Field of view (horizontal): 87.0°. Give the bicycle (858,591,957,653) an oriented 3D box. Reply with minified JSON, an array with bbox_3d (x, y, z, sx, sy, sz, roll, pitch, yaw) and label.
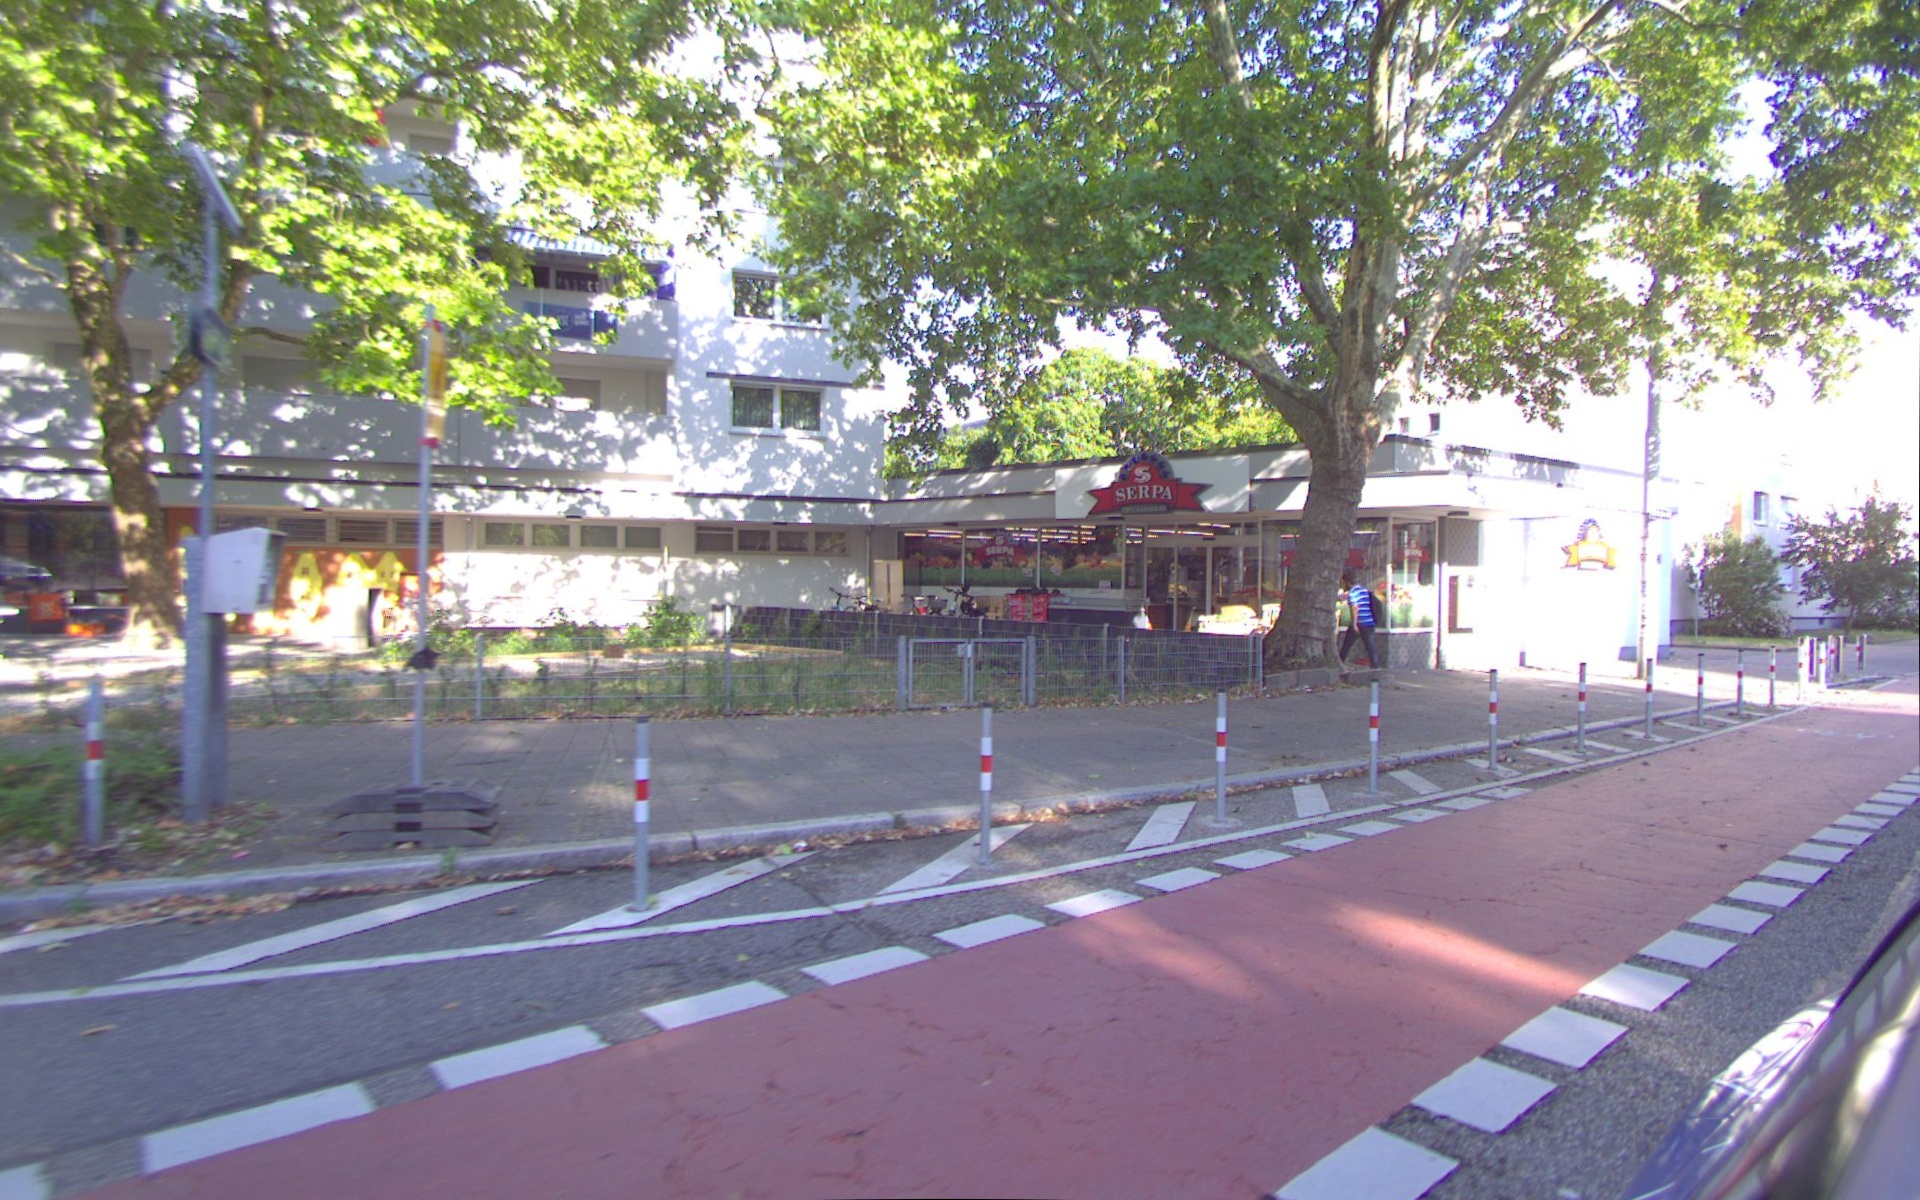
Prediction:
[{"bbox_3d":[-1.034,0.428,20.741,0.762,1.188,2.398,-2,-1,33],"label":"bicycle"}]

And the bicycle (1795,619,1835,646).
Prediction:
[{"bbox_3d":[30.805,1.171,36.450,2.188,0.937,0.638,2,-3,-38],"label":"bicycle"}]

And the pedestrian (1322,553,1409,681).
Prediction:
[{"bbox_3d":[6.808,0.246,16.991,1.144,2.038,0.821,4,3,31],"label":"pedestrian"}]

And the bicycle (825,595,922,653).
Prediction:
[{"bbox_3d":[-1.835,0.492,21.853,0.762,1.188,2.398,-2,-1,33],"label":"bicycle"}]

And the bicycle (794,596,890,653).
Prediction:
[{"bbox_3d":[-2.577,0.511,22.439,0.762,1.188,2.398,-2,-1,33],"label":"bicycle"}]

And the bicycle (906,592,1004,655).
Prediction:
[{"bbox_3d":[-0.058,0.444,20.262,0.762,1.188,2.398,-2,-1,33],"label":"bicycle"}]
